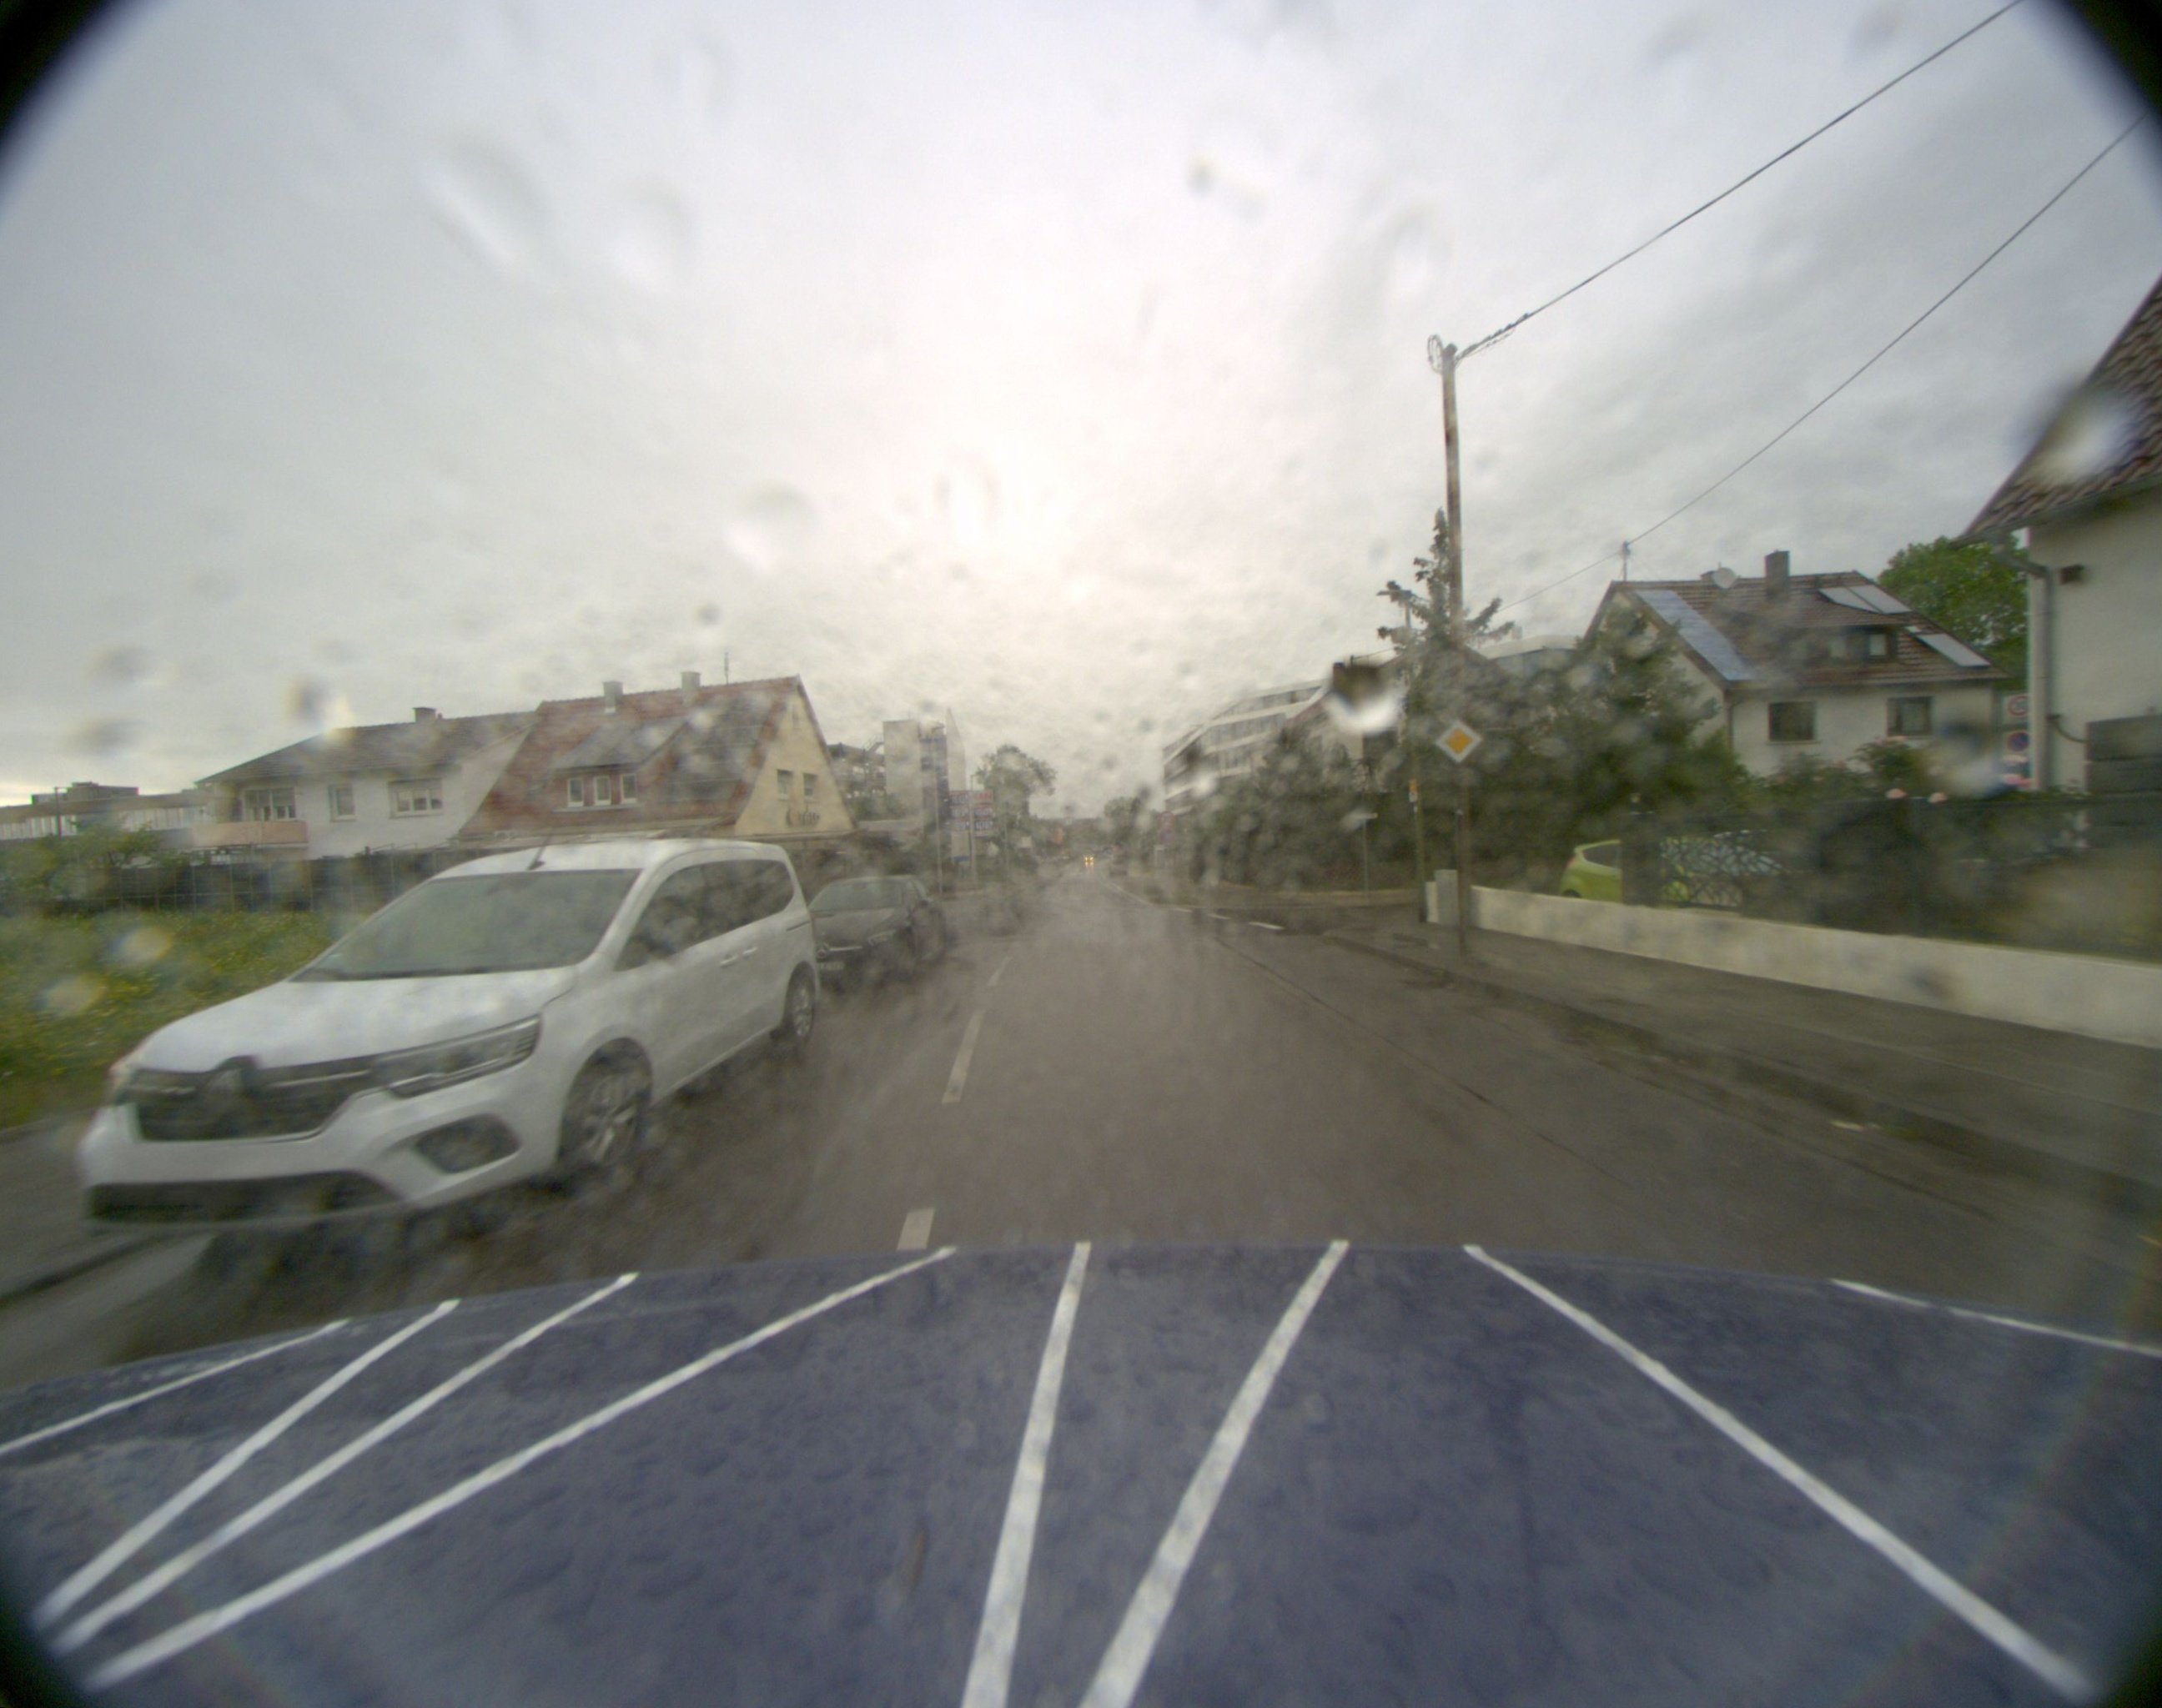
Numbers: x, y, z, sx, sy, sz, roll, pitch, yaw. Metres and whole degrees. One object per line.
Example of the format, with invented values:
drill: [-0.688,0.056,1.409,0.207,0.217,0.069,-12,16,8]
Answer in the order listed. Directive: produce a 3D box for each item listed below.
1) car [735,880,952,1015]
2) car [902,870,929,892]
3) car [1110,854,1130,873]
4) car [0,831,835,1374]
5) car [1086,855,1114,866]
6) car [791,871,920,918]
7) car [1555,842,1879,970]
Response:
car: [-3.197,1.189,11.211,1.773,1.328,4.320,-4,0,0]
car: [-12.053,1.940,55.521,1.694,1.332,4.336,-3,0,-9]
car: [3.933,0.922,76.619,1.841,1.696,4.324,-3,0,2]
car: [-3.278,0.875,4.943,1.773,1.814,4.574,-4,0,0]
car: [3.086,1.084,122.537,4.166,1.411,2.001,-5,0,5]
car: [-8.319,1.477,28.349,4.227,1.601,1.860,-1,1,-1]
car: [8.824,0.613,10.979,1.783,1.459,3.456,-3,1,1]
